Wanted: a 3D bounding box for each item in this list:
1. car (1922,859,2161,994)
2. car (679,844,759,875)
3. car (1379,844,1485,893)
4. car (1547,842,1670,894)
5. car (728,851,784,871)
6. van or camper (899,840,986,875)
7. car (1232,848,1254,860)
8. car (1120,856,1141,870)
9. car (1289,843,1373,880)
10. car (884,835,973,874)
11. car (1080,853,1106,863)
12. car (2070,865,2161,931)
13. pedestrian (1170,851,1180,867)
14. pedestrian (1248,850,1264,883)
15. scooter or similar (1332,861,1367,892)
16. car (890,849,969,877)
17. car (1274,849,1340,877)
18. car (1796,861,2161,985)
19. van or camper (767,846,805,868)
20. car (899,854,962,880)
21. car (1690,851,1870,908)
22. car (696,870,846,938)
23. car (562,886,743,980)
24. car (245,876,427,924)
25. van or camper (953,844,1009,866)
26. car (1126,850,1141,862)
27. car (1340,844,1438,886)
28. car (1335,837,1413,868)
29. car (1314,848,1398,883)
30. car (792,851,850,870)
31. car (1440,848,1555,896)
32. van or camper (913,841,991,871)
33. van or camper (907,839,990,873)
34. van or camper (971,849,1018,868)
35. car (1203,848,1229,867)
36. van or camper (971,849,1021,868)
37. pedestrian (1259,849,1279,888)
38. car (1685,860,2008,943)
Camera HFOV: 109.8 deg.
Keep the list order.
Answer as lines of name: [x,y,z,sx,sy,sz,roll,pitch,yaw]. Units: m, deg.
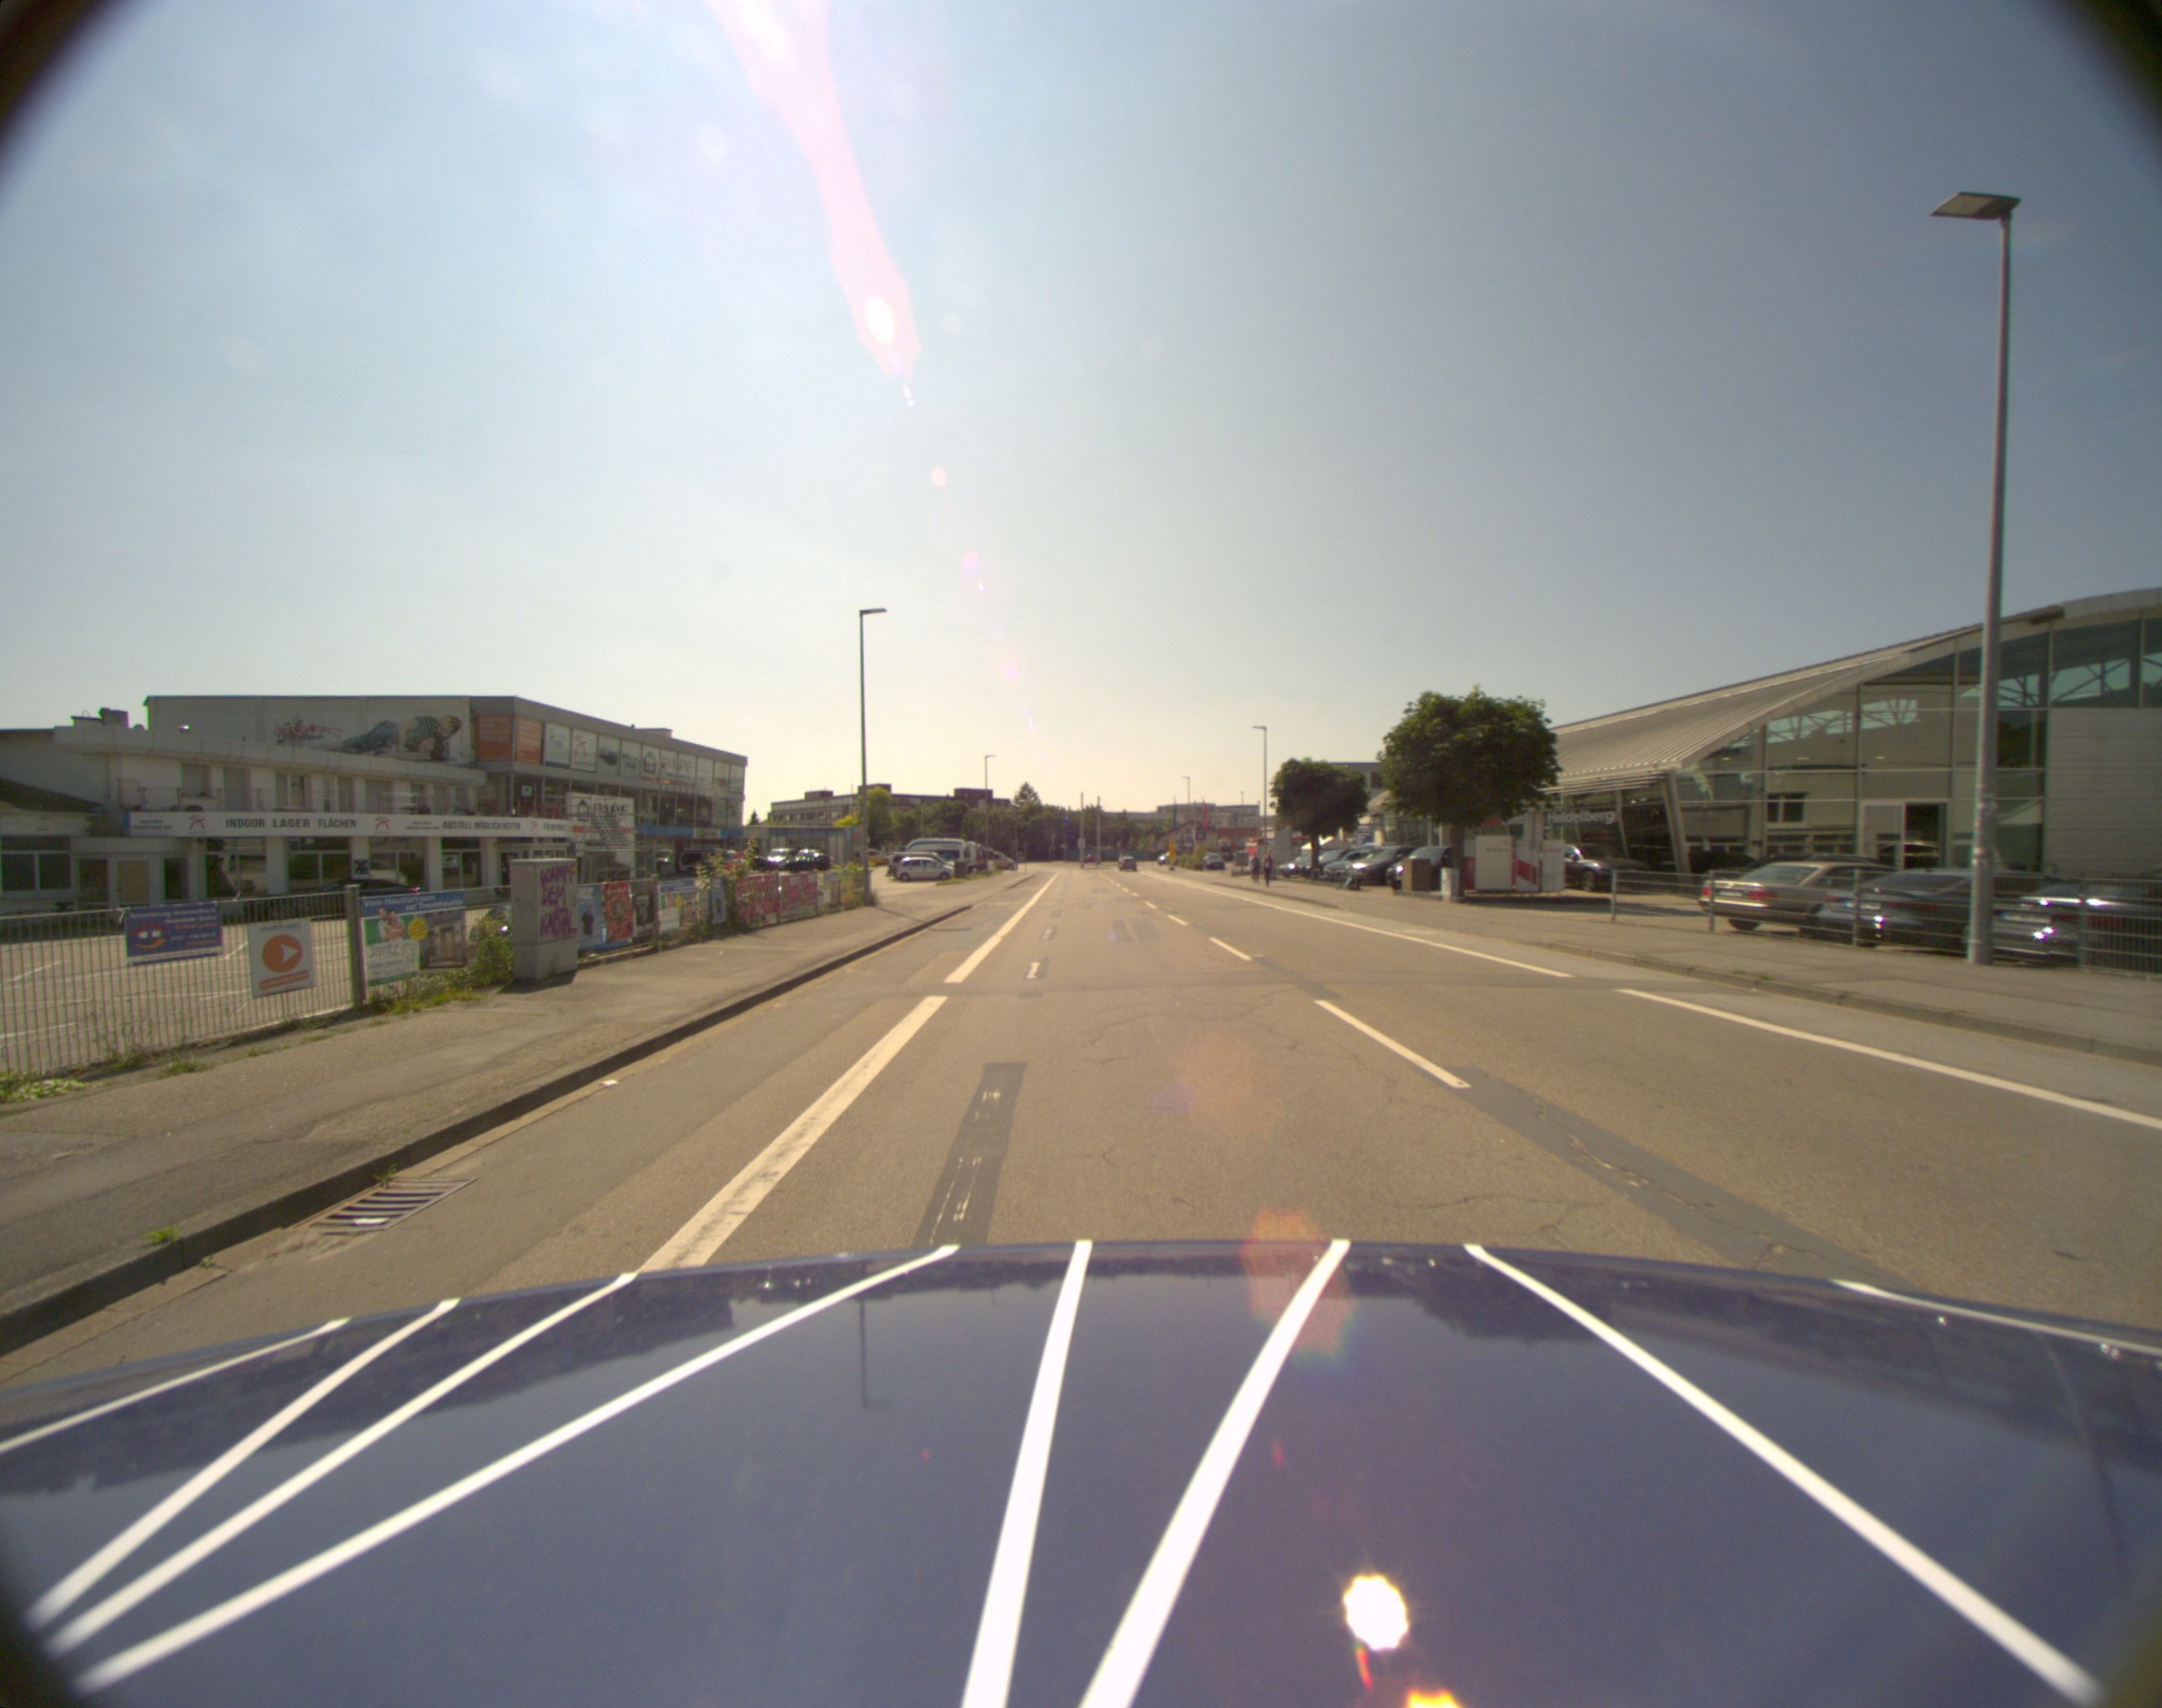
car: [14.032,1.016,9.923,3.998,1.435,1.858,5,3,-3]
car: [-29.272,0.425,61.550,5.311,2.405,2.325,0,0,-1]
car: [14.260,0.546,30.801,4.488,1.698,1.906,-3,1,-36]
car: [18.572,0.443,26.994,1.997,1.674,4.002,-1,0,8]
car: [-28.839,0.581,67.426,4.117,1.723,1.999,0,0,-4]
van or camper: [-10.913,0.270,60.182,6.365,2.684,2.712,0,1,0]
car: [19.478,-0.003,91.329,1.912,1.380,4.485,0,0,3]
car: [5.001,0.940,77.555,1.746,1.396,4.324,0,-1,-2]
car: [13.851,0.394,42.010,4.489,1.599,1.961,-5,-2,-36]
car: [-11.383,0.030,57.113,6.244,2.853,2.320,0,1,0]
car: [2.062,0.648,129.939,3.989,1.696,2.004,-1,0,35]
car: [25.119,0.931,16.856,3.997,1.351,1.859,-1,0,-1]
pedestrian: [9.884,0.487,79.504,0.996,1.676,0.800,0,1,11]
pedestrian: [9.706,0.682,42.177,0.725,1.838,0.911,0,1,0]
scooter or similar: [11.180,0.923,31.690,0.746,1.240,1.489,-1,1,-8]
car: [-10.817,0.641,54.544,5.247,1.940,2.000,0,0,-1]
car: [13.500,0.517,45.349,4.168,1.451,1.902,-3,1,-43]
car: [14.214,1.033,12.187,3.901,1.436,1.822,-4,3,-4]
van or camper: [-28.273,0.254,72.943,2.123,2.002,5.112,0,0,-6]
car: [-10.197,0.882,51.696,3.932,1.584,1.798,-2,0,-1]
car: [20.889,0.711,22.886,3.470,1.499,1.885,0,4,16]
car: [-9.360,1.384,22.756,5.033,1.613,2.026,-1,5,42]
car: [-9.063,1.543,15.986,3.819,1.607,1.897,-1,1,37]
car: [-26.940,1.614,27.719,4.562,1.283,1.890,-4,2,-42]
van or camper: [-12.140,0.080,92.486,6.376,2.621,2.526,-1,1,-36]
car: [6.486,0.264,94.600,1.664,1.446,4.241,1,0,2]
car: [13.803,0.462,33.948,4.588,1.687,1.854,-1,0,-36]
car: [18.001,-0.088,46.940,2.001,1.710,4.725,-4,1,-16]
car: [13.732,0.520,37.851,4.210,1.486,1.870,-3,2,-36]
car: [-23.200,0.565,67.928,4.551,1.668,1.999,0,0,-4]
car: [15.132,0.618,27.570,4.006,1.541,1.855,-1,0,-31]
van or camper: [-11.085,0.155,65.641,6.211,2.510,2.618,0,1,-1]
van or camper: [-10.886,0.178,62.992,6.365,2.700,2.712,0,1,0]
van or camper: [-9.863,0.489,87.019,4.991,2.033,2.037,0,1,-31]
car: [13.130,0.326,74.117,1.909,1.705,4.000,0,0,2]
van or camper: [-9.434,0.479,84.136,5.145,1.950,1.981,0,1,-31]
pedestrian: [9.184,0.703,37.188,0.734,1.857,1.047,0,1,0]
car: [14.810,0.874,14.885,4.536,1.449,1.900,0,0,-2]
